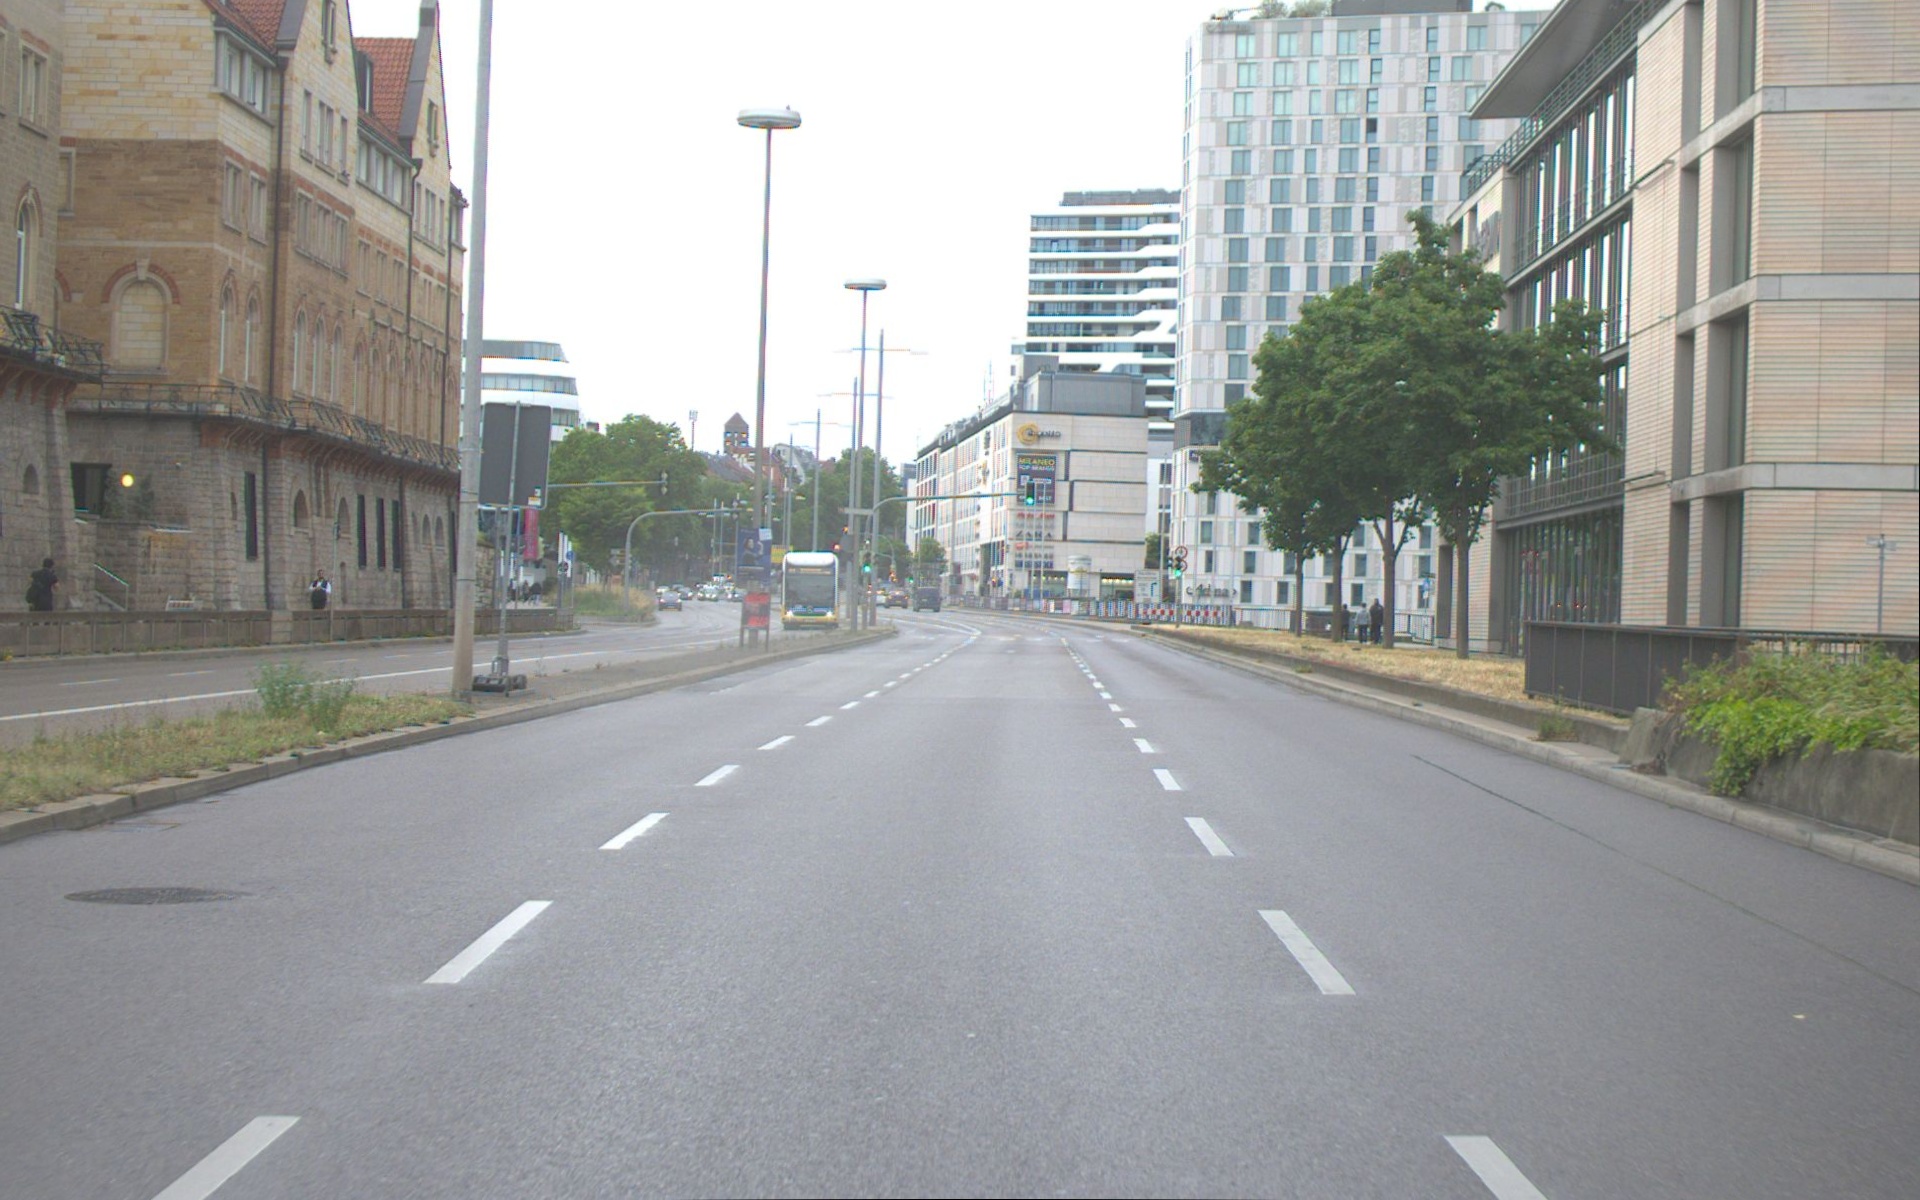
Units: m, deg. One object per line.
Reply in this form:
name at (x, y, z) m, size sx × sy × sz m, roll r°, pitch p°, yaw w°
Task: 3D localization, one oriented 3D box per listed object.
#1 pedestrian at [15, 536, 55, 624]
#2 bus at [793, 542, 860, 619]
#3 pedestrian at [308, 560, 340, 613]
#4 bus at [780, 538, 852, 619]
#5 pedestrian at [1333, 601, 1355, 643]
pedestrian at (-18.405, -0.407, 68.411) m, size 0.640 × 1.740 × 0.621 m, roll 1°, pitch 1°, yaw -1°
bus at (-6.414, -0.954, 166.590) m, size 2.698 × 3.547 × 10.093 m, roll 1°, pitch 0°, yaw 1°
pedestrian at (-17.893, -0.375, 96.736) m, size 0.754 × 1.473 × 0.714 m, roll 1°, pitch 1°, yaw 1°
bus at (-6.488, -0.945, 156.223) m, size 2.698 × 3.547 × 10.093 m, roll 1°, pitch 0°, yaw 1°
pedestrian at (14.492, 0.821, 129.647) m, size 0.550 × 1.572 × 0.669 m, roll 2°, pitch 2°, yaw 36°
